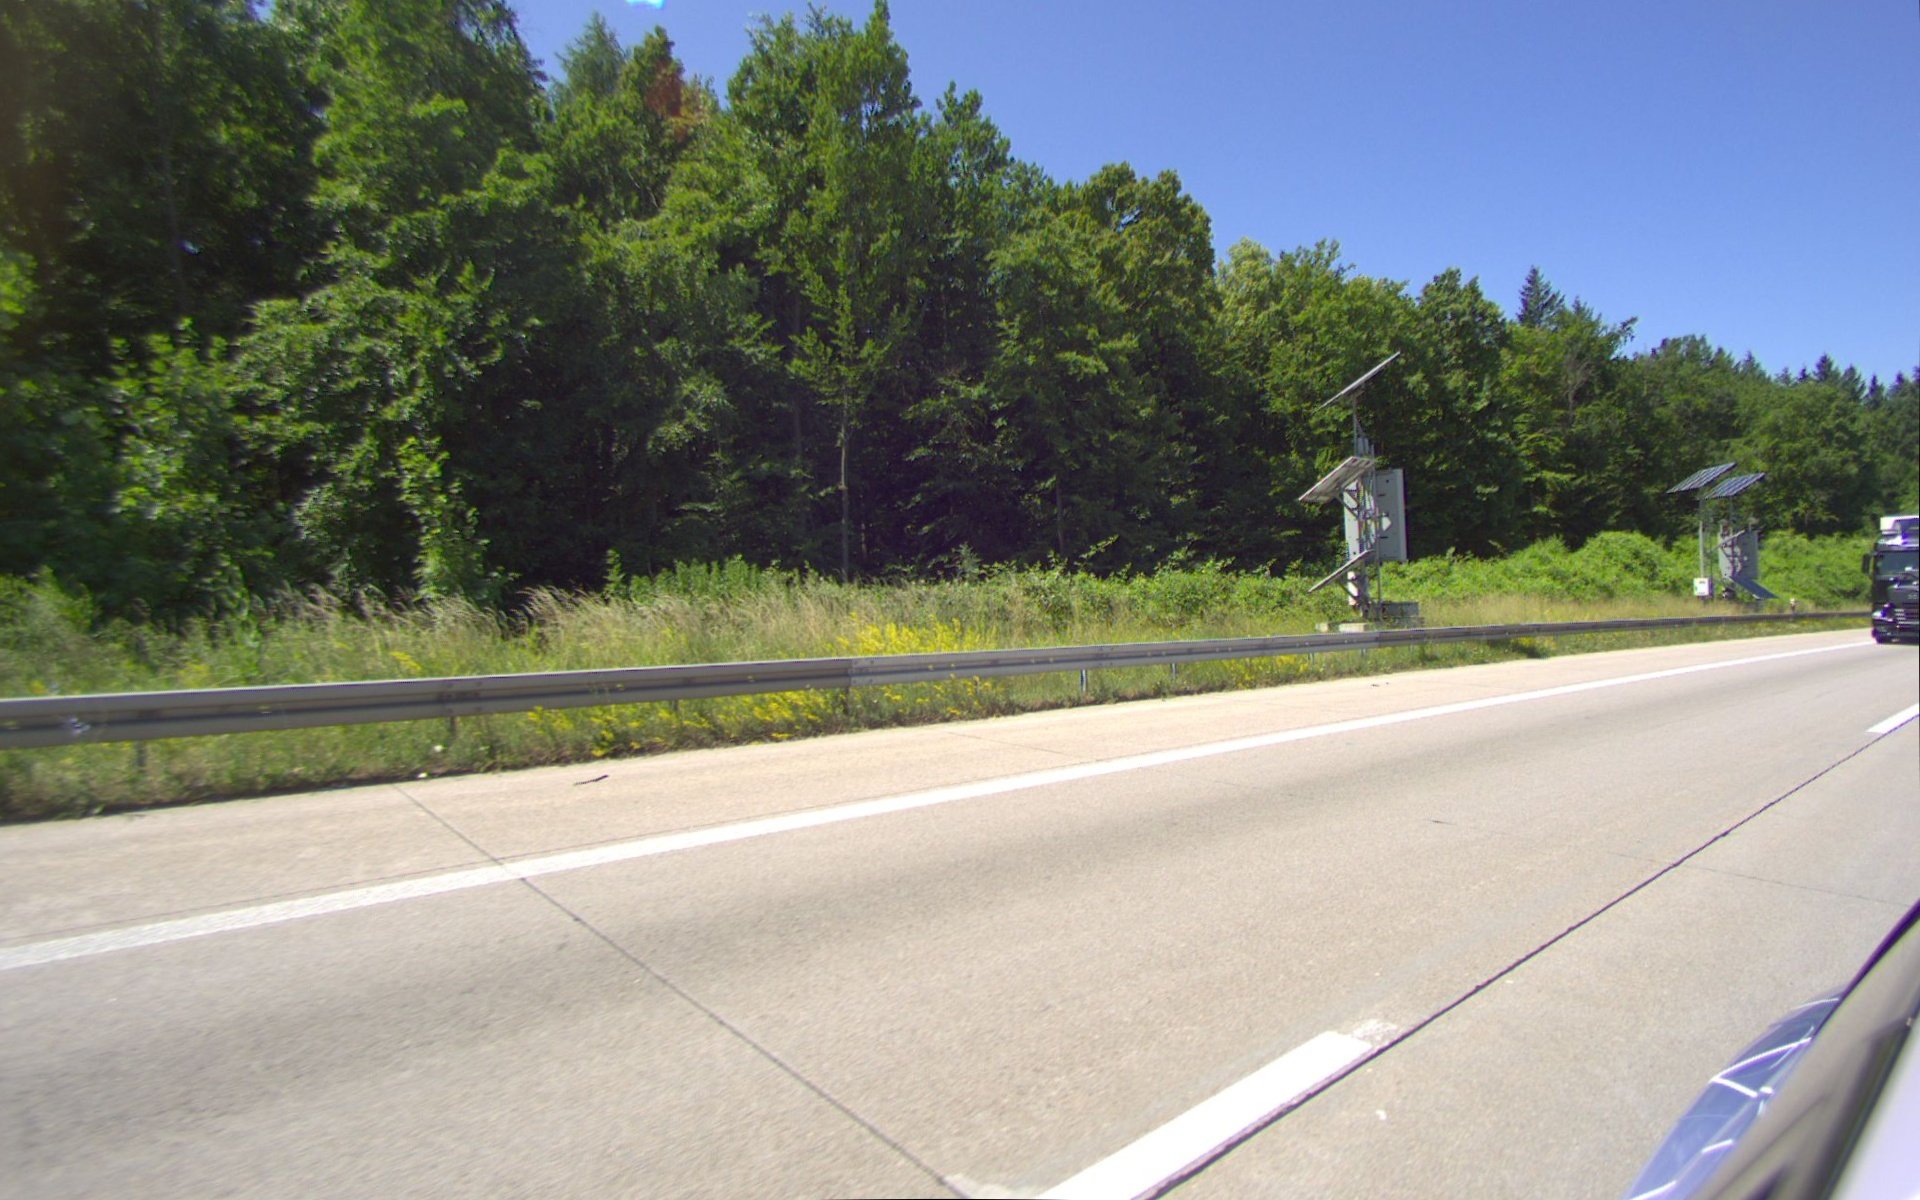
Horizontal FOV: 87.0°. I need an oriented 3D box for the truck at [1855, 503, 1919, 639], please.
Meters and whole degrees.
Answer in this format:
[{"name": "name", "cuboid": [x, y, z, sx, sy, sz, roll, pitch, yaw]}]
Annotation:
[{"name": "truck", "cuboid": [32.741, -0.883, 33.331, 10.415, 4.067, 3.167, 0, 0, -39]}]
